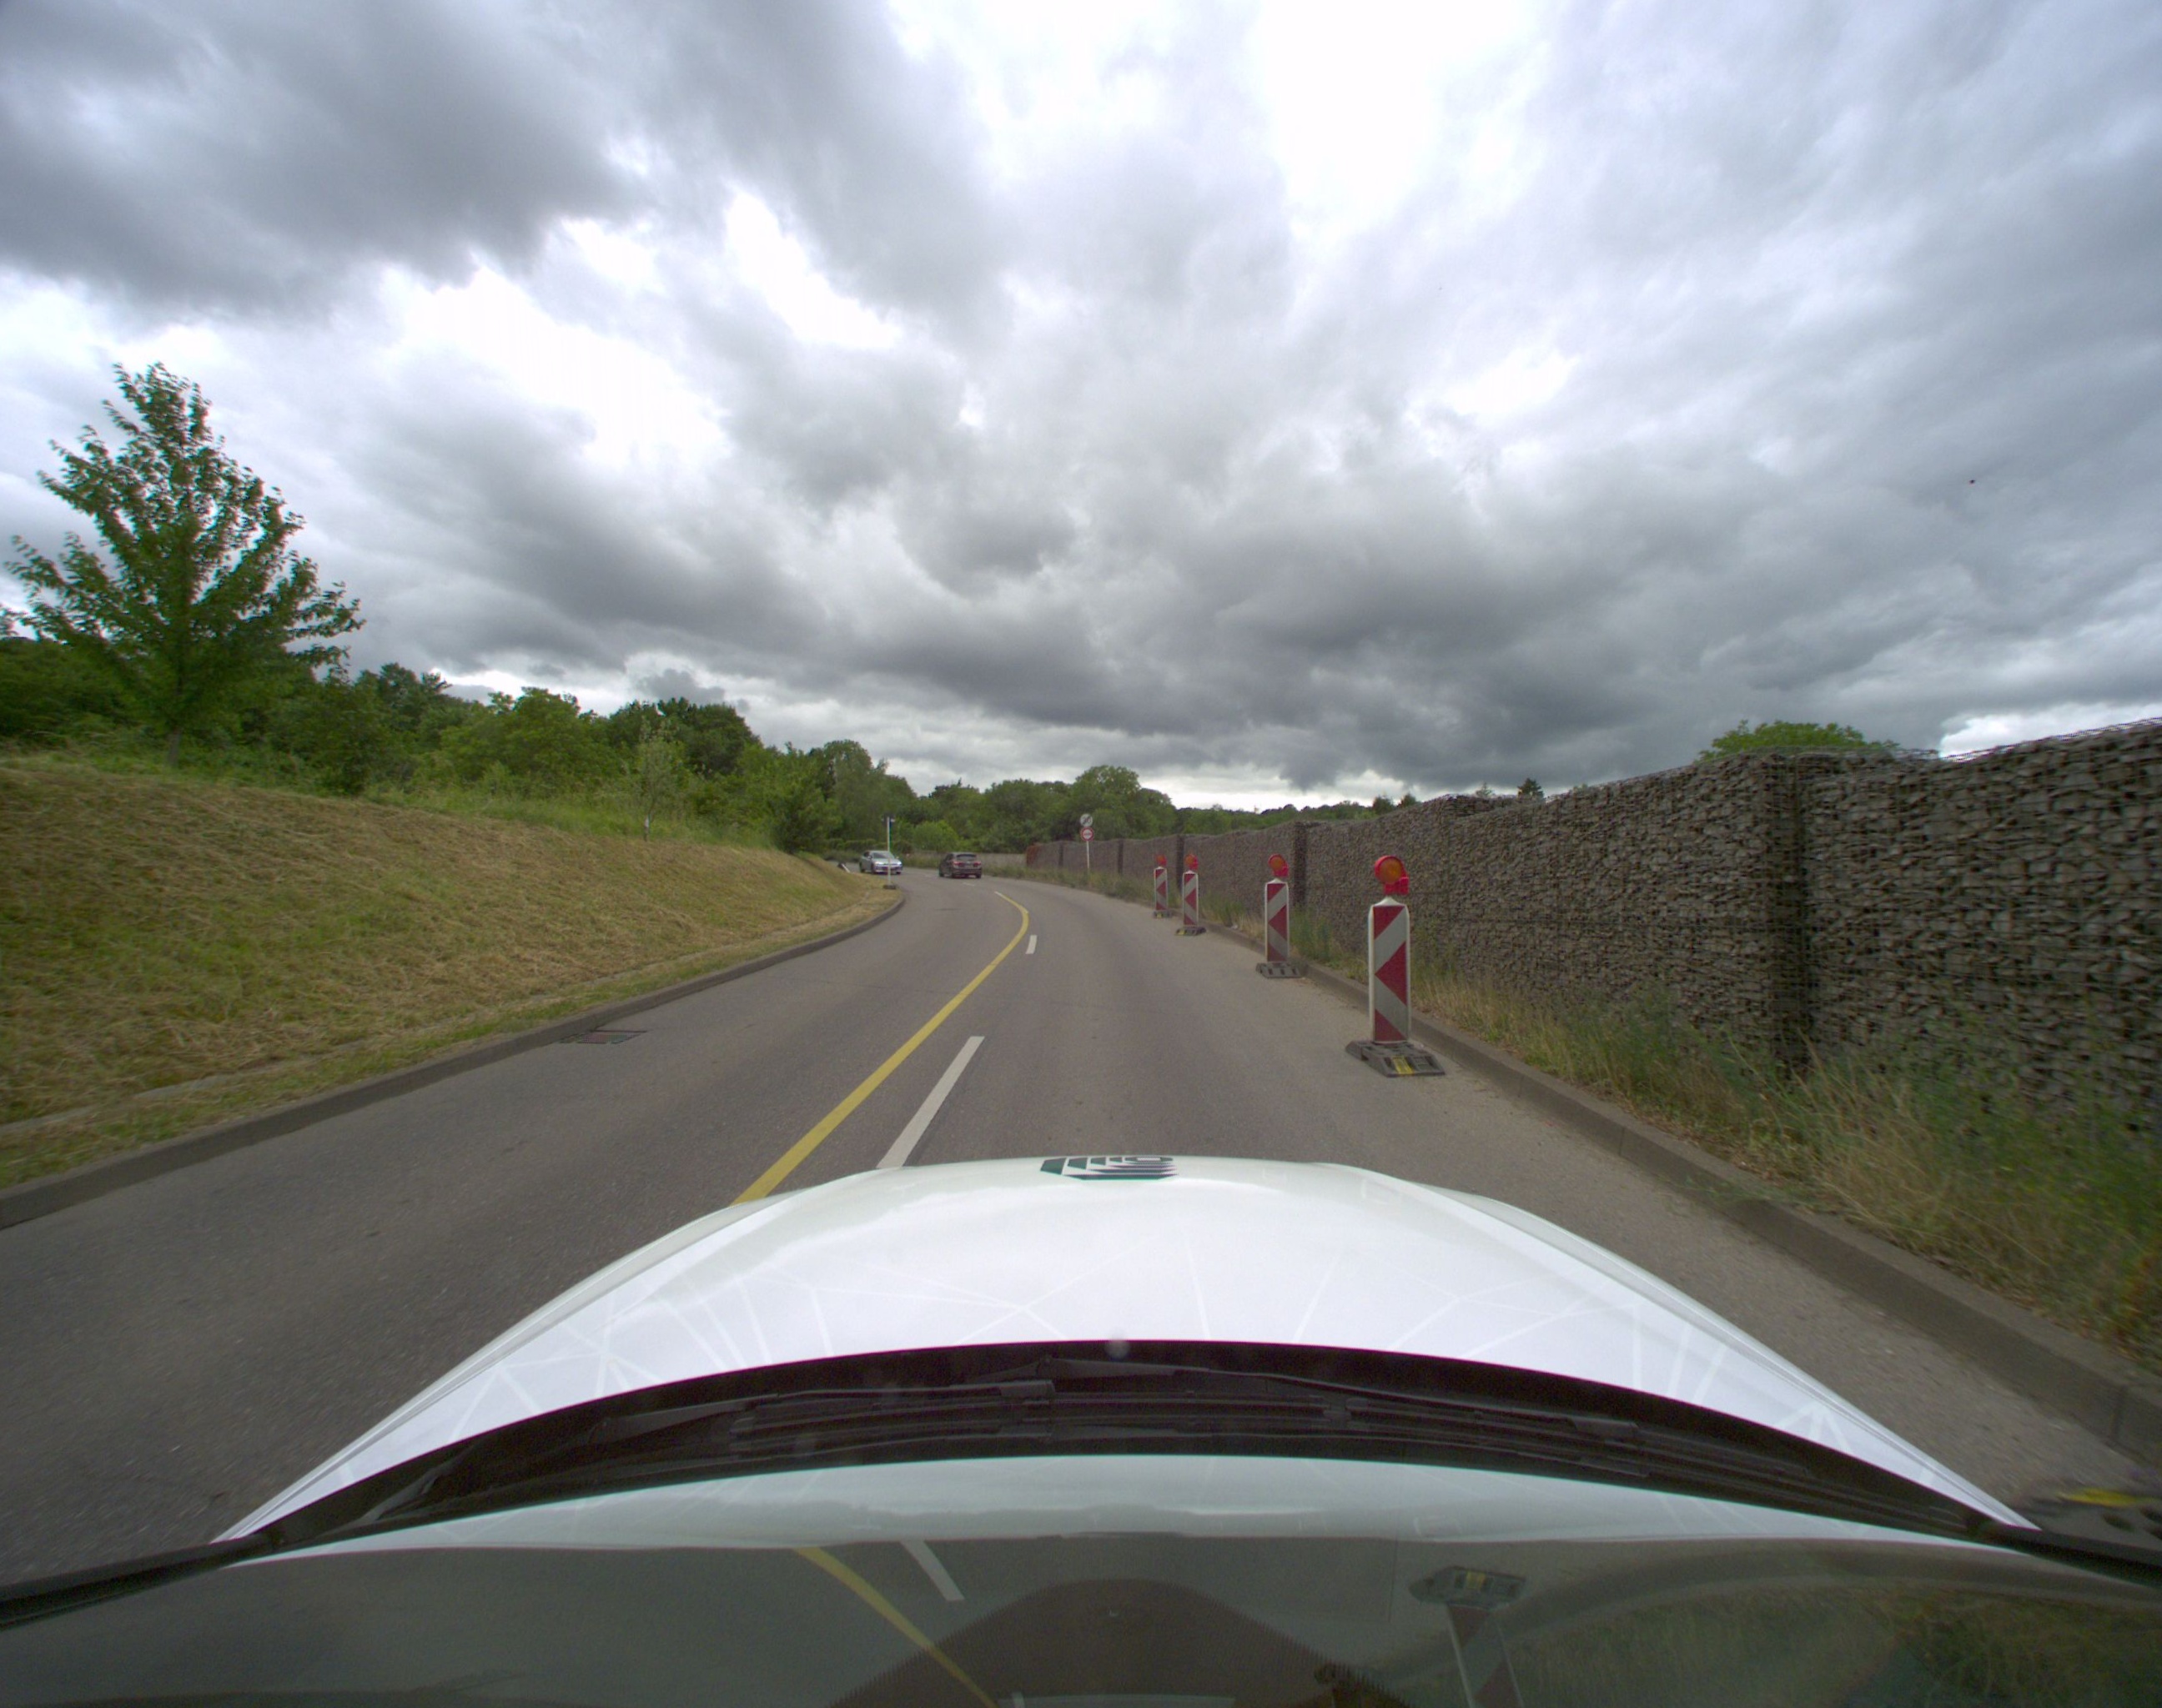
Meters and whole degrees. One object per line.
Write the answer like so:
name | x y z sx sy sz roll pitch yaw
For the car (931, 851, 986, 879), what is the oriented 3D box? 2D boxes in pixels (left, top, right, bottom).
car | -7.237 0.598 47.804 1.851 1.483 3.961 -1 1 -30

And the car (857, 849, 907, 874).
car | -12.955 0.476 52.731 1.894 1.477 4.557 -2 1 -31
